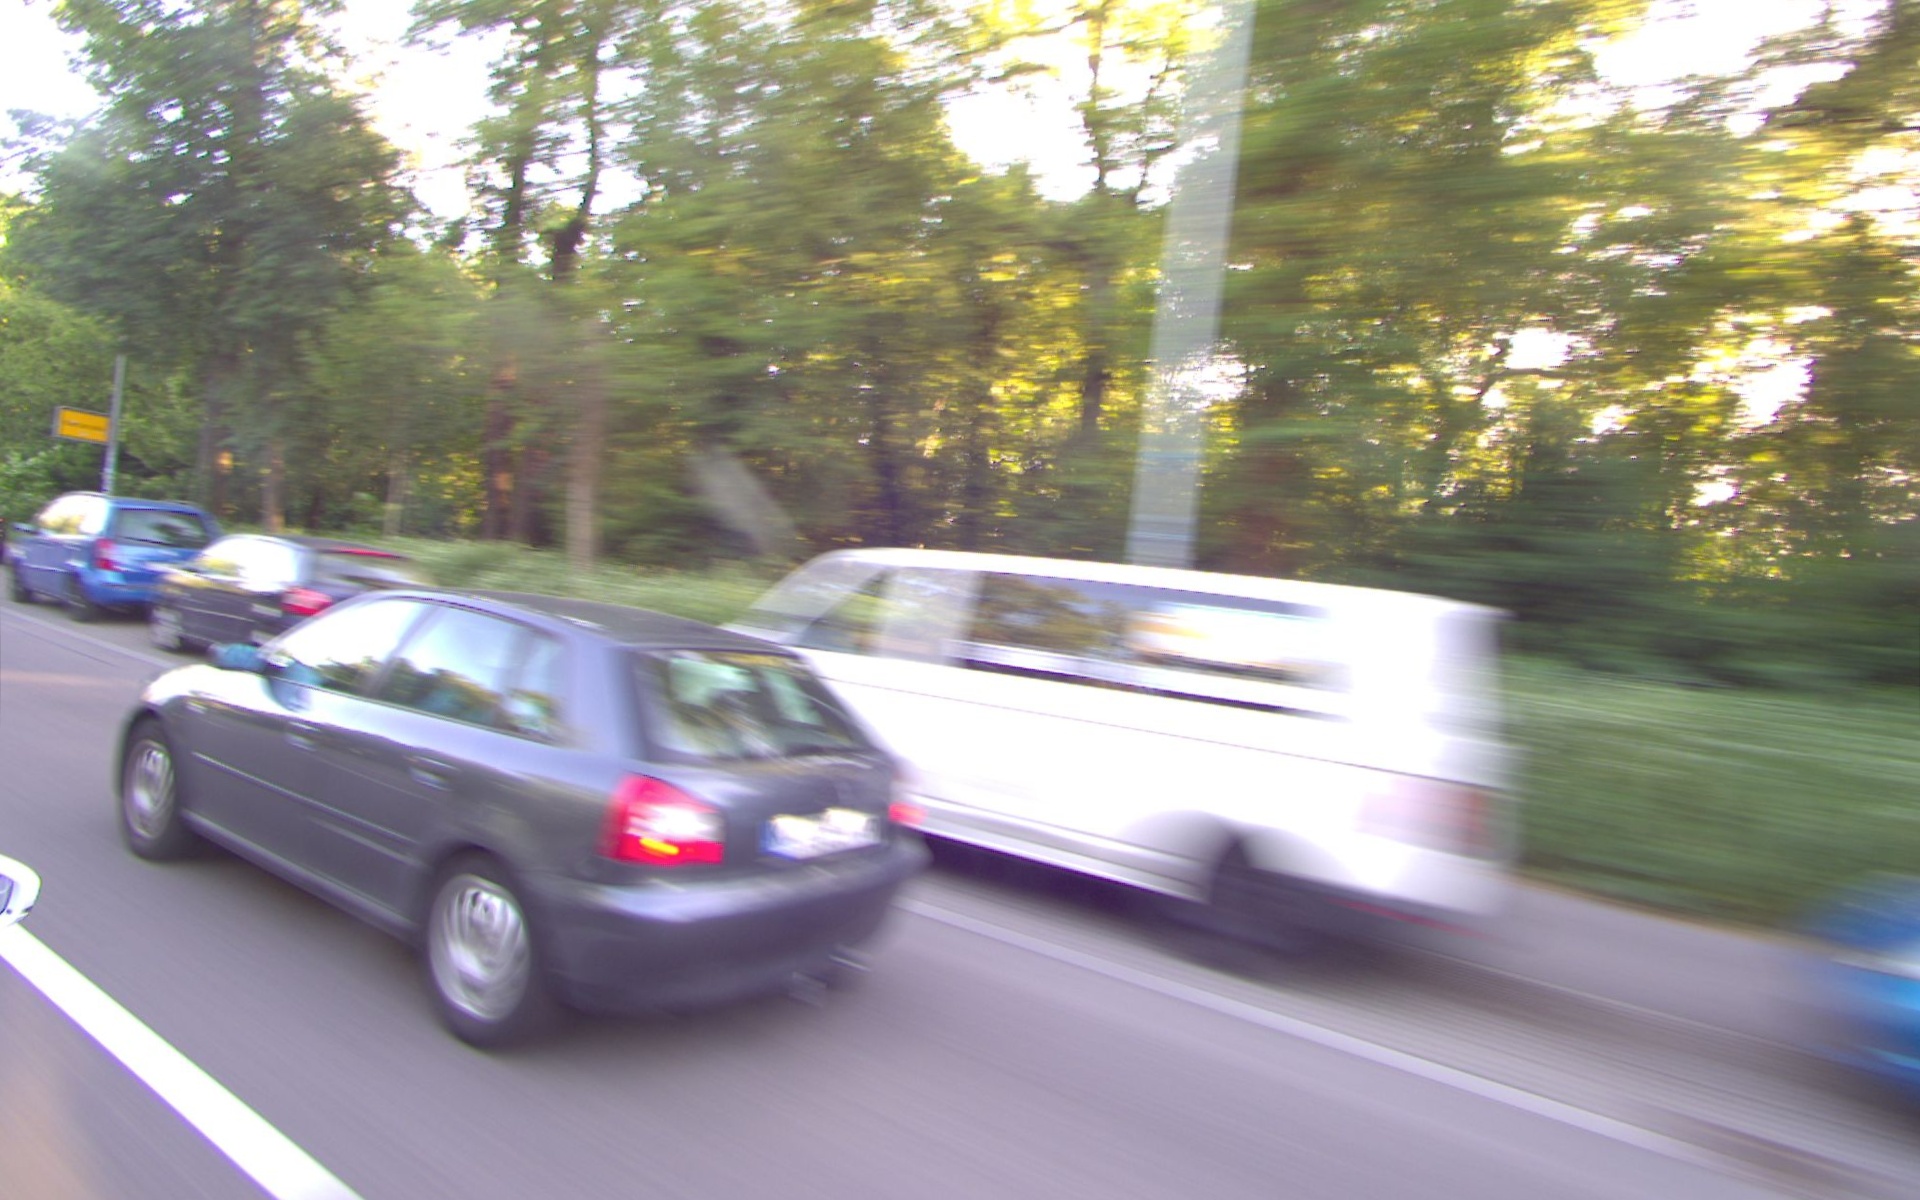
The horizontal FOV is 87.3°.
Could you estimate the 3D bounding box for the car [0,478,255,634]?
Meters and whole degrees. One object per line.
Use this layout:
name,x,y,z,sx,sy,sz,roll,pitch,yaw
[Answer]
car,-12.023,-0.660,14.313,4.023,1.725,1.730,7,0,32

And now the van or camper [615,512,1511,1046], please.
van or camper,0.407,0.727,6.449,5.252,1.994,1.835,7,-1,31

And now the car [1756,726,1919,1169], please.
car,5.439,1.546,3.522,3.801,1.541,1.650,7,0,30

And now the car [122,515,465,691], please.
car,-7.585,-0.011,11.346,4.045,1.460,1.651,7,1,32

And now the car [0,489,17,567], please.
car,-20.772,-1.664,20.198,4.023,1.509,1.729,7,0,33

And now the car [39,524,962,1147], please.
car,-2.220,0.637,4.544,4.021,1.459,1.730,7,0,31
